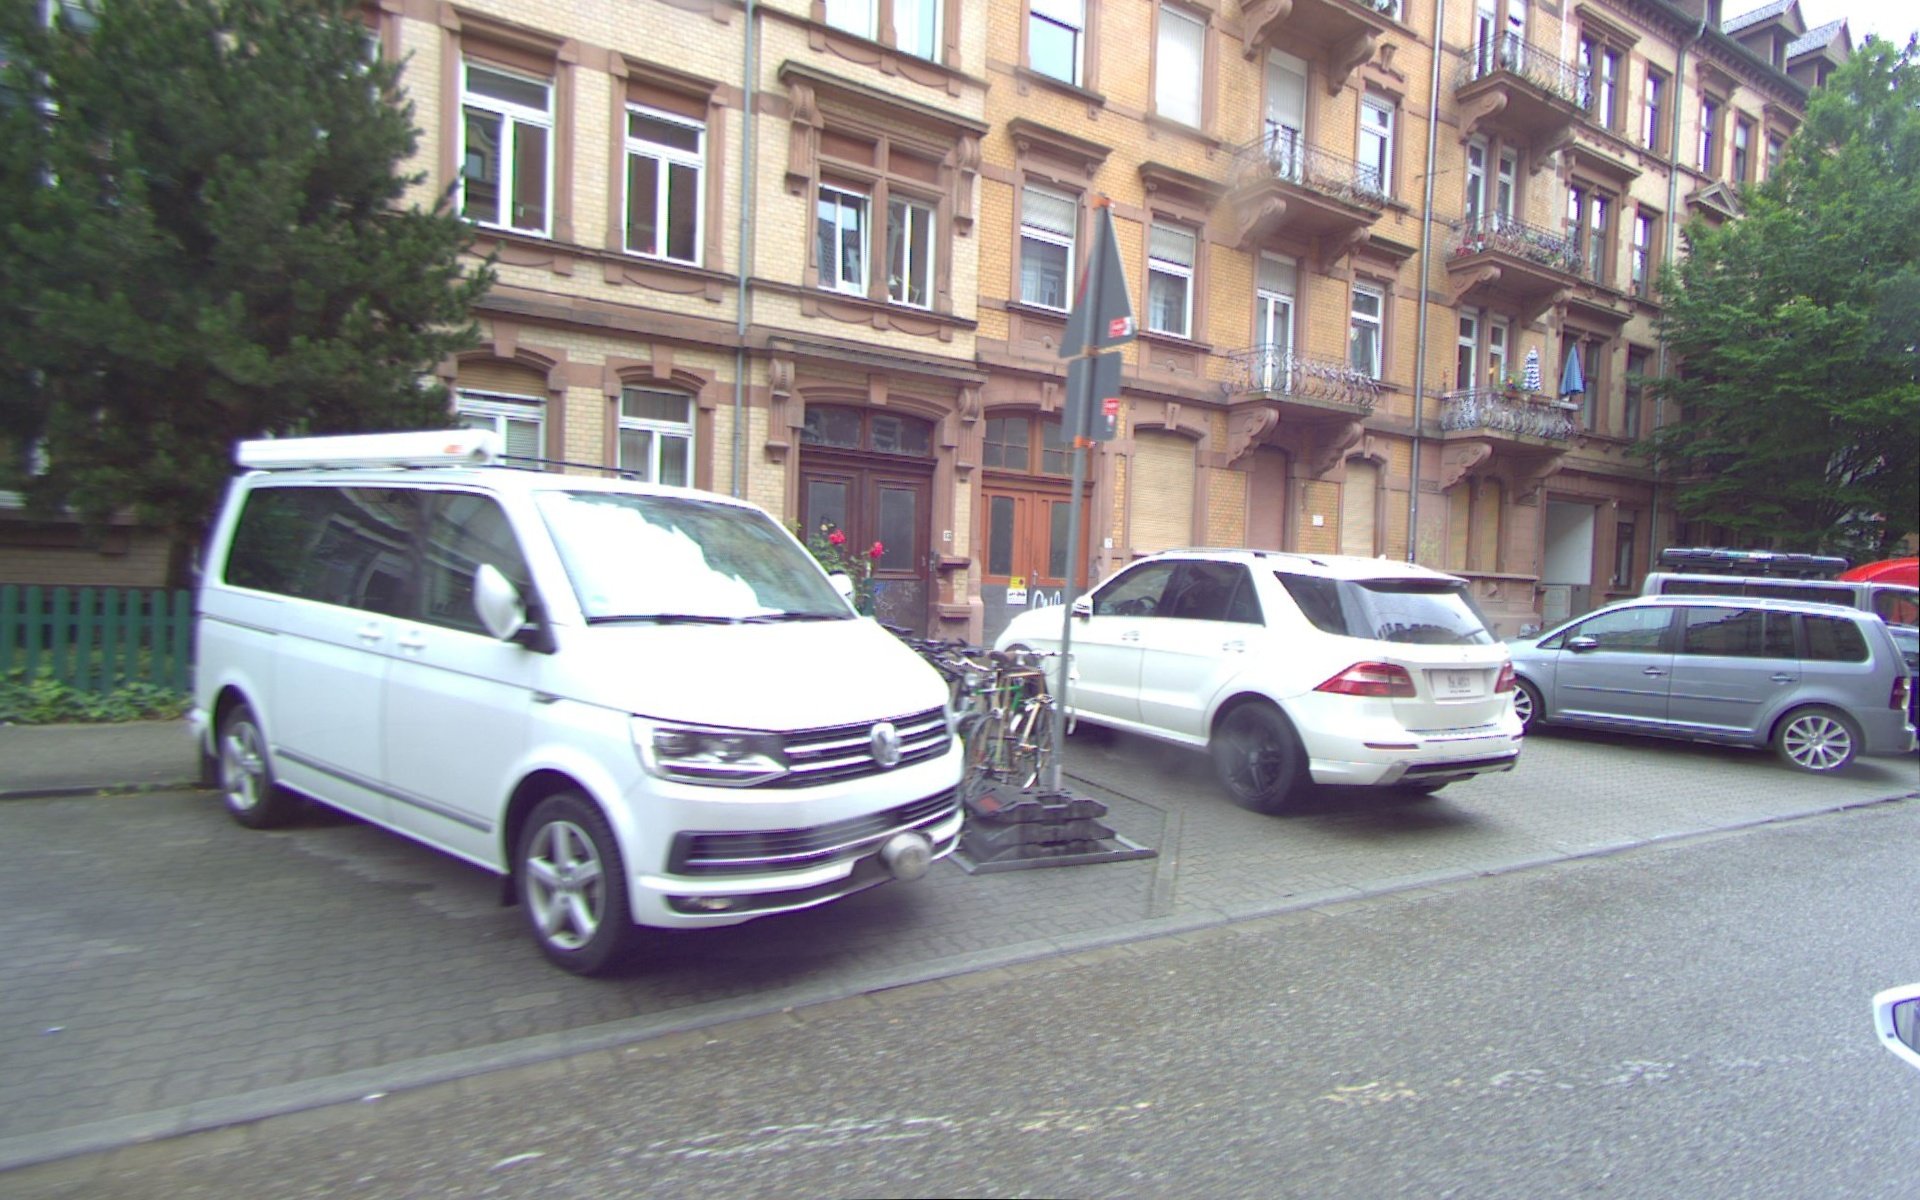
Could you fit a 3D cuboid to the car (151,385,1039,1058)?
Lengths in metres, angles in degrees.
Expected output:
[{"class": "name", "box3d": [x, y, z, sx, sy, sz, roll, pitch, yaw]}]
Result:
[{"class": "car", "box3d": [-2.304, 0.281, 5.409, 5.167, 2.106, 1.864, 3, 1, 36]}]

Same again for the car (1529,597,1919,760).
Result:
[{"class": "car", "box3d": [9.727, 0.861, 12.550, 4.288, 1.525, 1.748, 5, 3, 38]}]

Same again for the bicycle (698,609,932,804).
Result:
[{"class": "bicycle", "box3d": [-0.976, 0.680, 7.360, 0.534, 1.190, 2.041, 3, 2, 29]}]

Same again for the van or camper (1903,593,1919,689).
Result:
[{"class": "van or camper", "box3d": [21.983, 0.960, 19.923, 4.366, 2.002, 1.779, 3, 2, 27]}]

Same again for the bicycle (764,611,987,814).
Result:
[{"class": "bicycle", "box3d": [-0.512, 0.695, 7.098, 0.474, 1.190, 2.041, 3, 2, 29]}]

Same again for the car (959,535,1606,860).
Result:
[{"class": "car", "box3d": [2.248, 0.466, 8.367, 2.516, 1.809, 4.555, 1, 3, -31]}]

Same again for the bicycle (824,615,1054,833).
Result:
[{"class": "bicycle", "box3d": [-0.056, 0.733, 6.853, 0.534, 1.199, 2.125, 3, 2, 29]}]

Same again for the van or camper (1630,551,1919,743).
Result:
[{"class": "van or camper", "box3d": [12.328, 0.588, 13.928, 4.941, 2.381, 2.337, 3, 2, 34]}]

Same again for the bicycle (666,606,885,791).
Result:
[{"class": "bicycle", "box3d": [-1.322, 0.659, 7.639, 0.400, 1.190, 2.041, 3, 2, 29]}]

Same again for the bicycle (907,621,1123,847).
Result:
[{"class": "bicycle", "box3d": [0.440, 0.765, 6.587, 0.534, 1.190, 2.041, 3, 2, 29]}]

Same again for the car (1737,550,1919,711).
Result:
[{"class": "car", "box3d": [16.677, 0.534, 16.835, 5.477, 2.575, 2.223, 3, 2, 33]}]

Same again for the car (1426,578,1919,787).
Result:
[{"class": "car", "box3d": [7.752, 0.732, 11.127, 4.371, 1.652, 1.839, 6, 4, 34]}]
